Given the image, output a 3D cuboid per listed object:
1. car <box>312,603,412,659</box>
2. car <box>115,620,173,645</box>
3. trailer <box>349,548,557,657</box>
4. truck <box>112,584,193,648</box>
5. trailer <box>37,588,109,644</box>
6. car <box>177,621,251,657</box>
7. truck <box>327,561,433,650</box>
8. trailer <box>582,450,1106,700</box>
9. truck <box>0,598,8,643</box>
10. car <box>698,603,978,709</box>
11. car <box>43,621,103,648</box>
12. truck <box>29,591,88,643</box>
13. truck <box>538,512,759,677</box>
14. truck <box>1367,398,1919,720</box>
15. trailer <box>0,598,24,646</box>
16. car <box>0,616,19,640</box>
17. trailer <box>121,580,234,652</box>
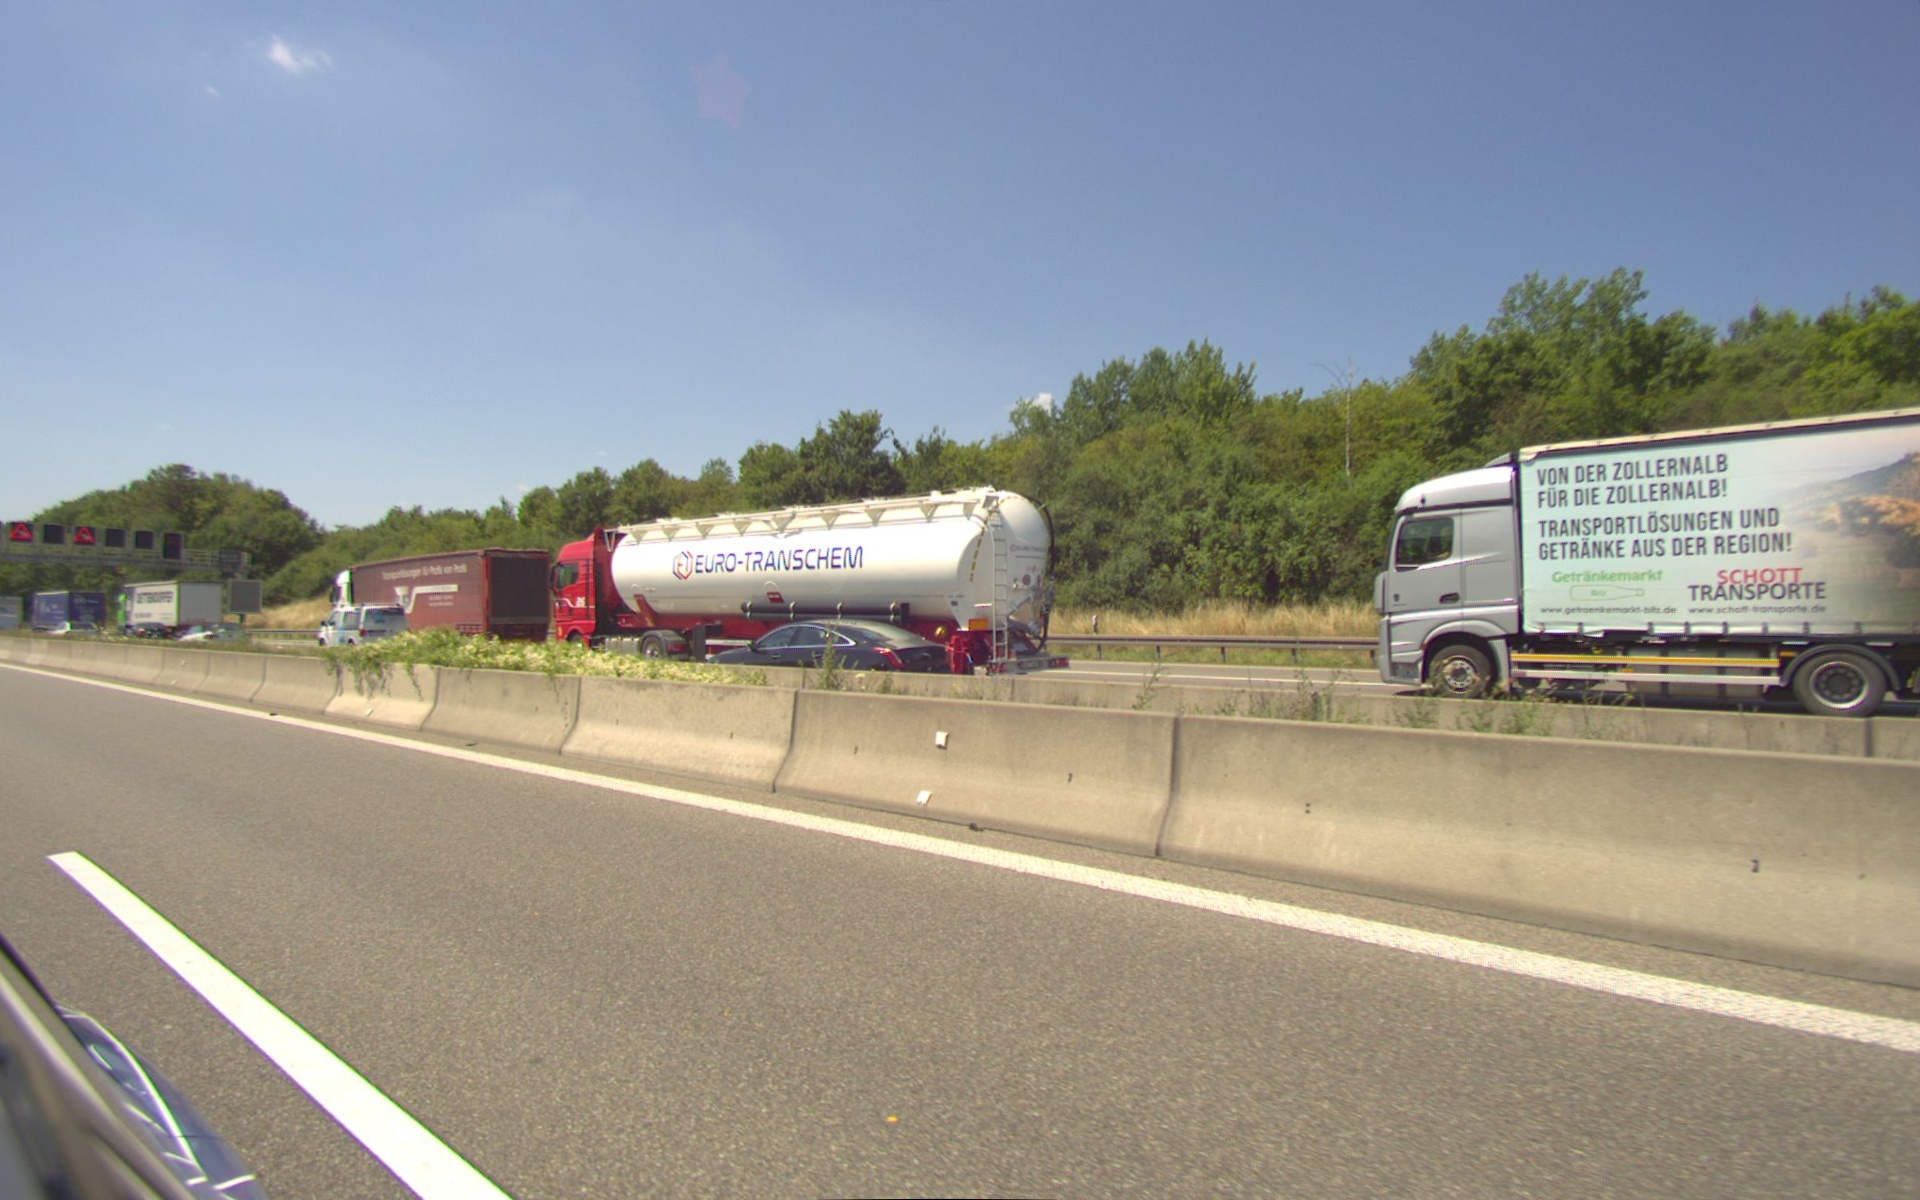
[{"bbox_3d":[-23.227,1.160,39.231,4.541,2.045,1.936,-1,-1,40],"label":"car"},{"bbox_3d":[-47.990,1.904,59.477,3.993,1.438,1.745,-1,-1,37],"label":"car"},{"bbox_3d":[-22.413,0.212,44.031,14.076,4.141,2.908,-1,-1,41],"label":"trailer"},{"bbox_3d":[-59.432,1.120,74.474,6.596,4.478,3.355,-1,0,40],"label":"truck"},{"bbox_3d":[-79.651,1.445,90.788,11.014,4.761,2.983,-1,0,39],"label":"trailer"},{"bbox_3d":[-29.416,1.503,39.897,3.422,1.333,1.596,-1,-1,40],"label":"car"},{"bbox_3d":[-28.051,0.288,48.890,5.129,4.040,2.937,-1,-1,41],"label":"truck"},{"bbox_3d":[-3.531,-0.365,22.790,14.164,4.196,2.907,-1,0,41],"label":"trailer"},{"bbox_3d":[-92.405,1.973,95.270,6.227,4.198,3.094,-1,0,38],"label":"truck"},{"bbox_3d":[-2.137,0.821,16.685,4.829,1.481,1.824,-1,0,41],"label":"car"},{"bbox_3d":[-49.396,1.898,56.338,3.993,1.438,1.745,-1,-1,37],"label":"car"},{"bbox_3d":[-84.191,1.557,94.473,6.679,4.761,2.983,-1,0,39],"label":"truck"},{"bbox_3d":[-8.423,-0.105,27.039,6.083,3.910,2.854,-1,0,41],"label":"truck"},{"bbox_3d":[11.650,-0.468,14.549,10.352,3.946,2.977,-1,-1,42],"label":"truck"},{"bbox_3d":[-88.492,1.996,92.210,10.186,4.198,3.094,-1,0,38],"label":"trailer"},{"bbox_3d":[-68.486,1.976,71.875,3.995,1.684,1.888,-1,-1,39],"label":"car"},{"bbox_3d":[-54.687,1.066,70.512,13.636,4.609,3.321,-1,0,40],"label":"trailer"}]
